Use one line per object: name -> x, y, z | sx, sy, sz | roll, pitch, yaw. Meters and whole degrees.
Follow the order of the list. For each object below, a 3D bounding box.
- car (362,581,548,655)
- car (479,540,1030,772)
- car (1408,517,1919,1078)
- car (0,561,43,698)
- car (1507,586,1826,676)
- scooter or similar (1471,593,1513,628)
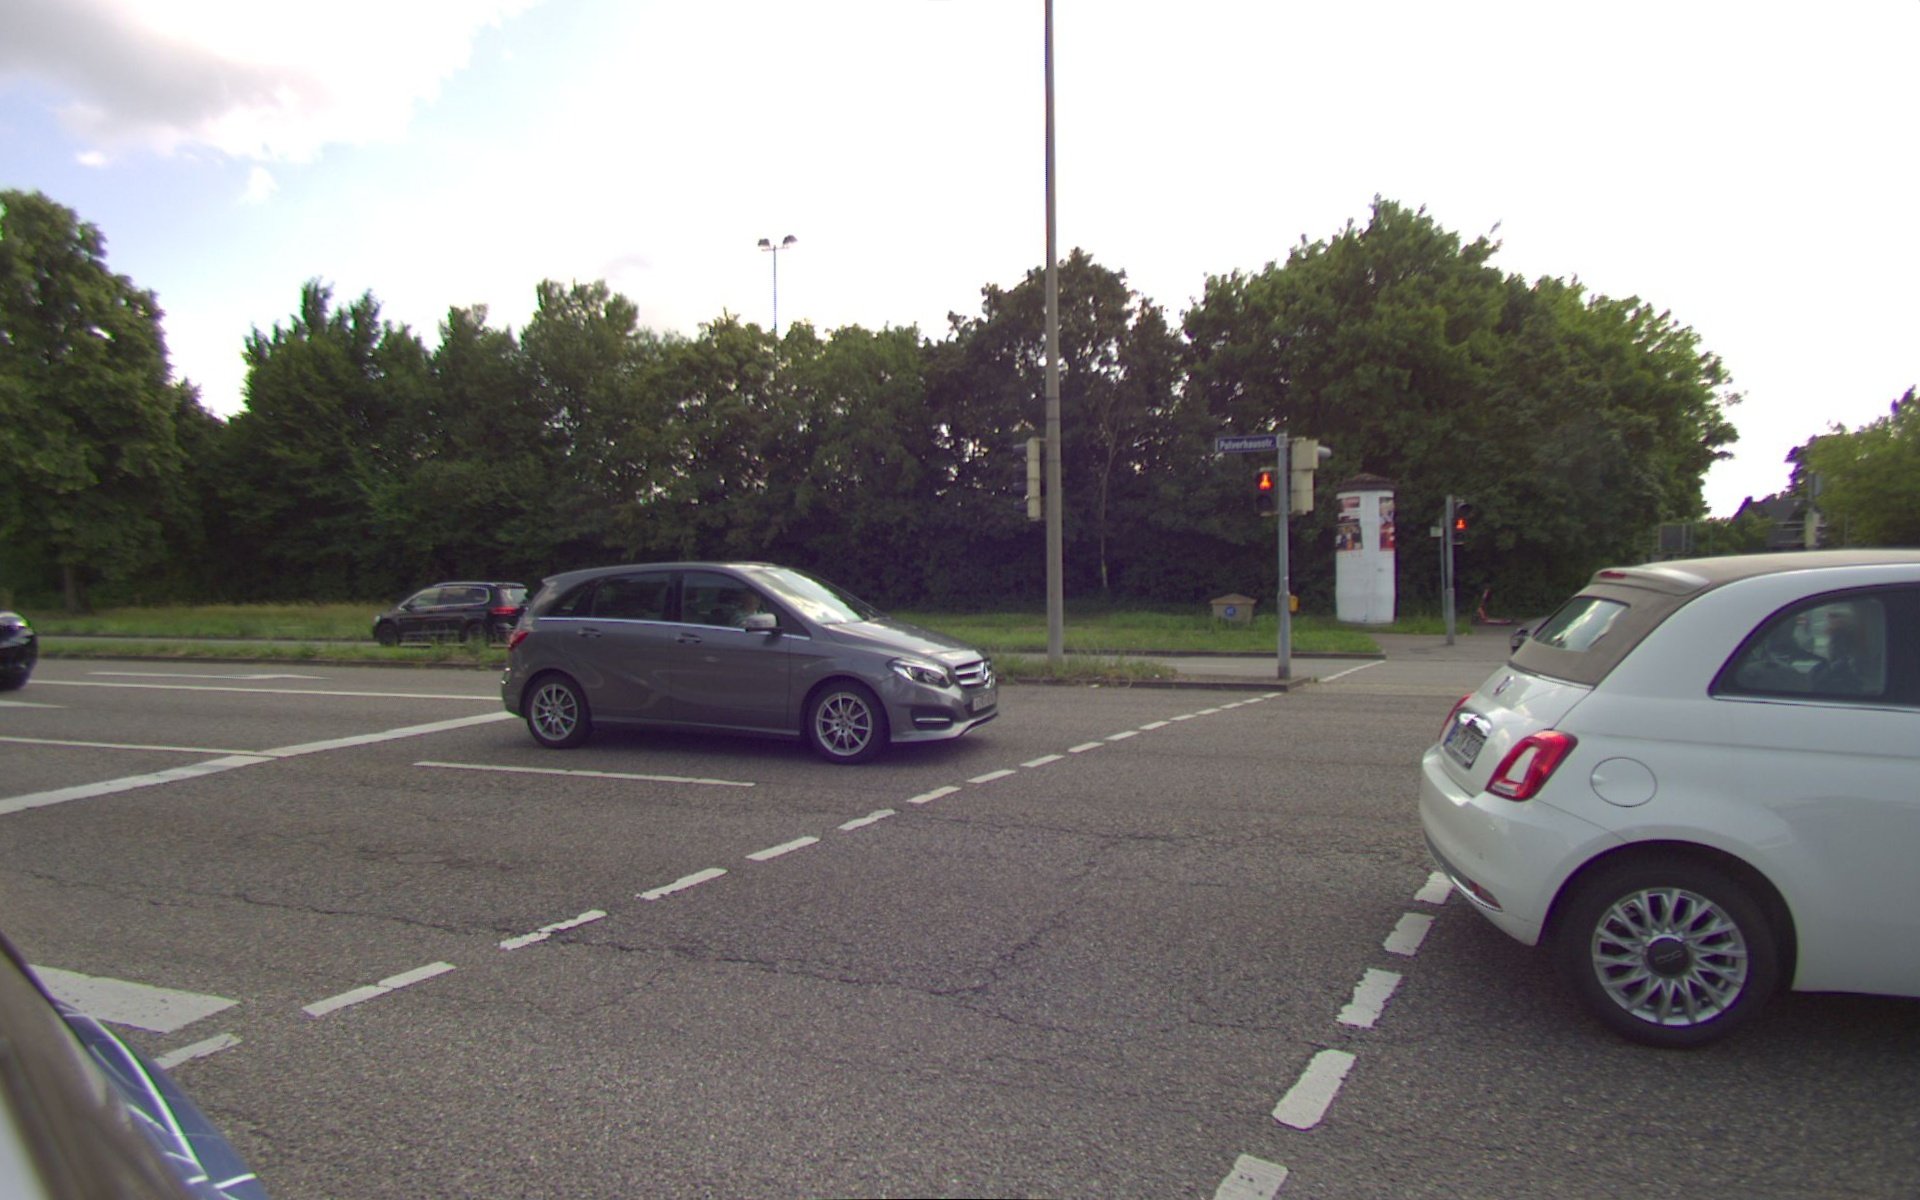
car -> -12.676, 0.398, 25.435 | 4.275, 1.754, 1.666 | 0, 1, 18
car -> -1.706, 0.379, 8.598 | 4.324, 1.631, 1.694 | 0, 2, 18
car -> 3.467, 0.517, 3.260 | 3.510, 1.508, 1.566 | 0, 1, 17
car -> -14.539, 0.376, 13.211 | 4.512, 1.759, 1.808 | 0, 2, 18
car -> 11.588, 0.480, 16.906 | 4.048, 1.383, 1.590 | 0, 0, 19
scooter or similar -> 15.317, 0.297, 29.161 | 1.030, 0.949, 0.294 | 1, 3, 25
